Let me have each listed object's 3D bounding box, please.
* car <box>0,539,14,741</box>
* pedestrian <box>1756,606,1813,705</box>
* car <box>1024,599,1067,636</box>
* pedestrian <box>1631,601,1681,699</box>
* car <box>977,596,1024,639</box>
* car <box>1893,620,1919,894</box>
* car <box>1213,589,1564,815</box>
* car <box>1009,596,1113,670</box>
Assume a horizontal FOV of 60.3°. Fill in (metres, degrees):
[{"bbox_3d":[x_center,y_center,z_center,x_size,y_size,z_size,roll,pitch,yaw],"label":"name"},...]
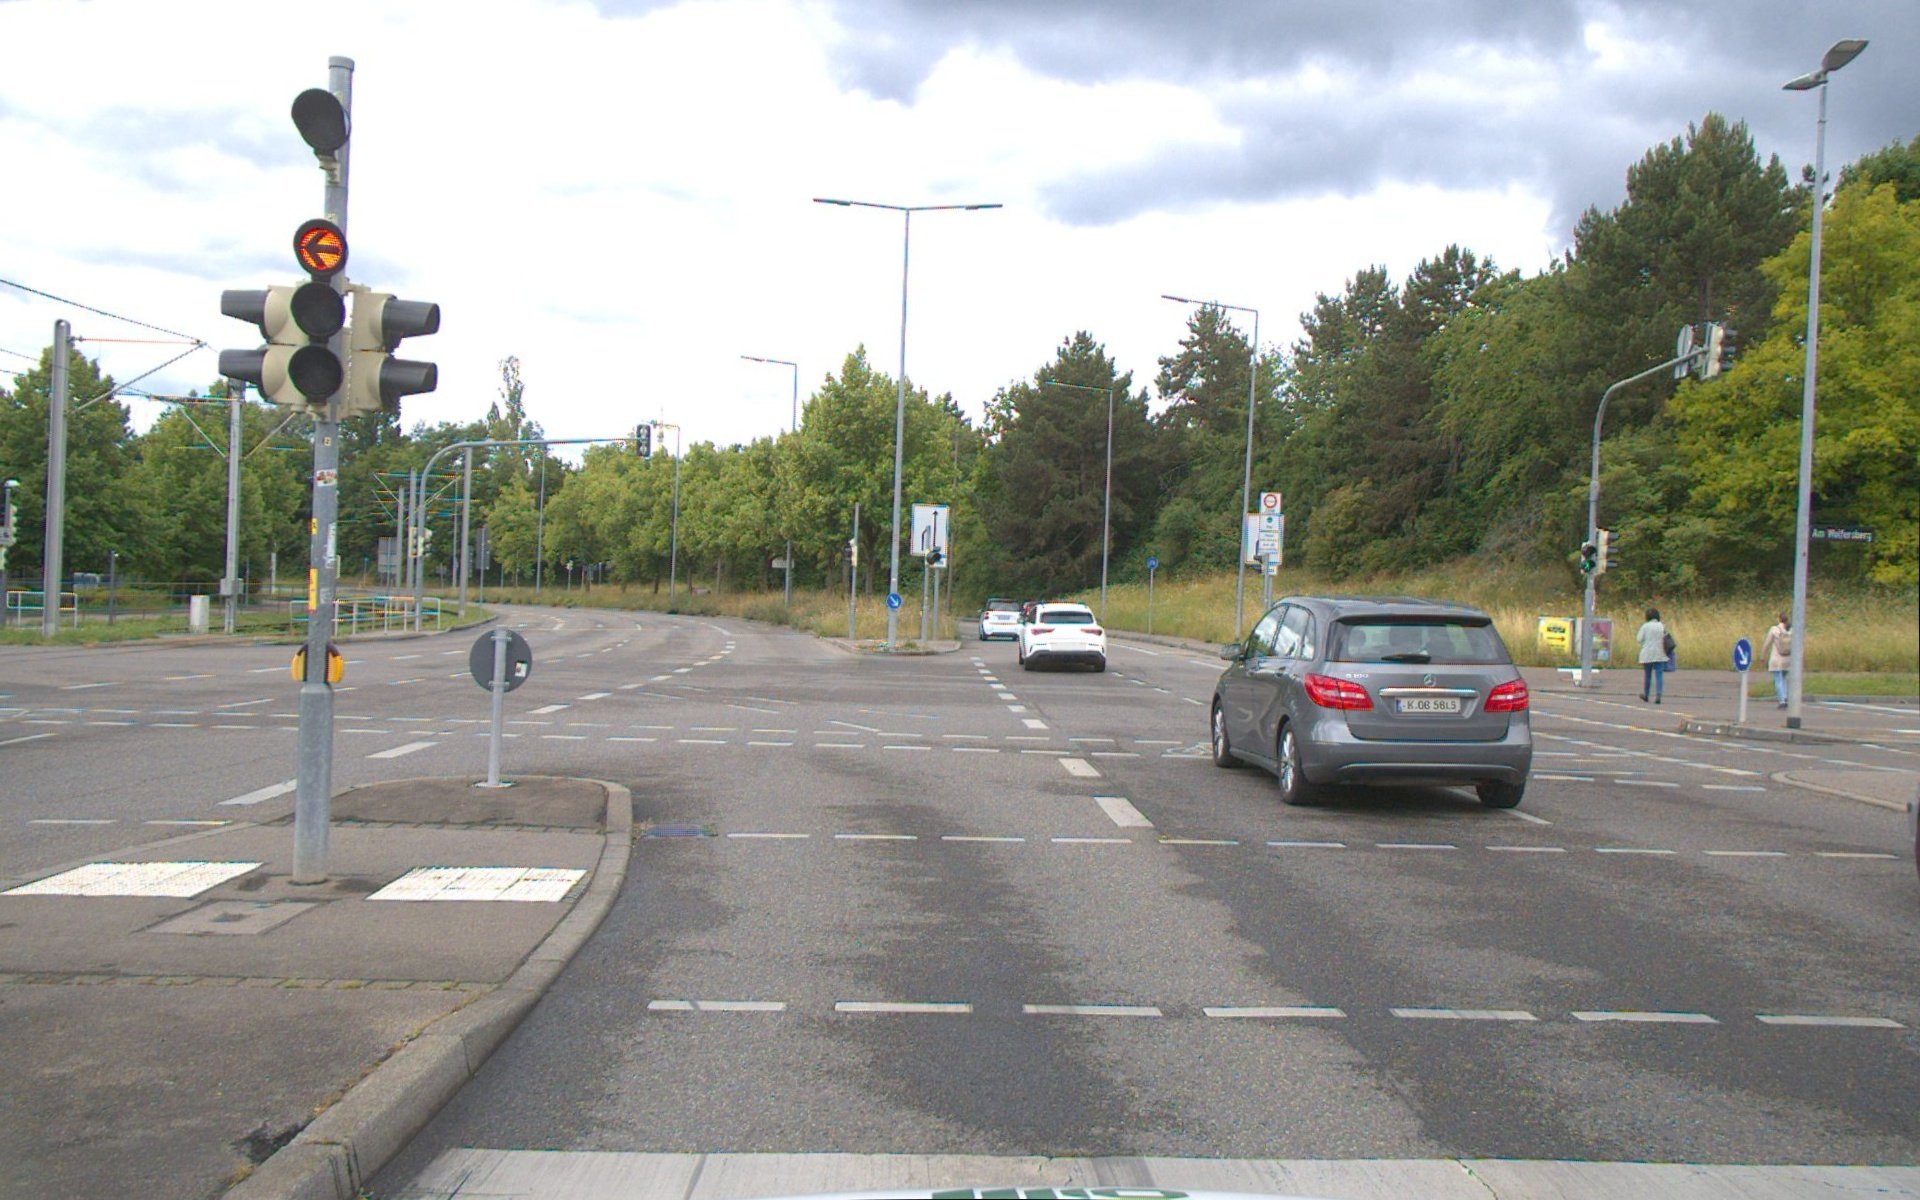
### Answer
[{"bbox_3d":[-9.486,0.367,12.745,1.851,1.844,5.086,0,0,-5],"label":"car"},{"bbox_3d":[13.872,0.928,27.844,0.630,1.640,0.714,1,-1,5],"label":"pedestrian"},{"bbox_3d":[3.585,0.734,69.797,1.580,1.479,3.881,1,0,-1],"label":"car"},{"bbox_3d":[12.294,0.873,29.232,0.630,1.691,0.714,1,-1,6],"label":"pedestrian"},{"bbox_3d":[1.492,0.631,61.652,1.560,1.543,2.765,1,0,-2],"label":"car"},{"bbox_3d":[5.835,0.842,6.631,1.711,1.407,4.290,1,0,-1],"label":"car"},{"bbox_3d":[3.272,0.704,13.431,1.711,1.534,3.999,1,0,-1],"label":"car"},{"bbox_3d":[2.195,0.704,37.128,1.807,1.533,4.528,1,0,-3],"label":"car"}]
